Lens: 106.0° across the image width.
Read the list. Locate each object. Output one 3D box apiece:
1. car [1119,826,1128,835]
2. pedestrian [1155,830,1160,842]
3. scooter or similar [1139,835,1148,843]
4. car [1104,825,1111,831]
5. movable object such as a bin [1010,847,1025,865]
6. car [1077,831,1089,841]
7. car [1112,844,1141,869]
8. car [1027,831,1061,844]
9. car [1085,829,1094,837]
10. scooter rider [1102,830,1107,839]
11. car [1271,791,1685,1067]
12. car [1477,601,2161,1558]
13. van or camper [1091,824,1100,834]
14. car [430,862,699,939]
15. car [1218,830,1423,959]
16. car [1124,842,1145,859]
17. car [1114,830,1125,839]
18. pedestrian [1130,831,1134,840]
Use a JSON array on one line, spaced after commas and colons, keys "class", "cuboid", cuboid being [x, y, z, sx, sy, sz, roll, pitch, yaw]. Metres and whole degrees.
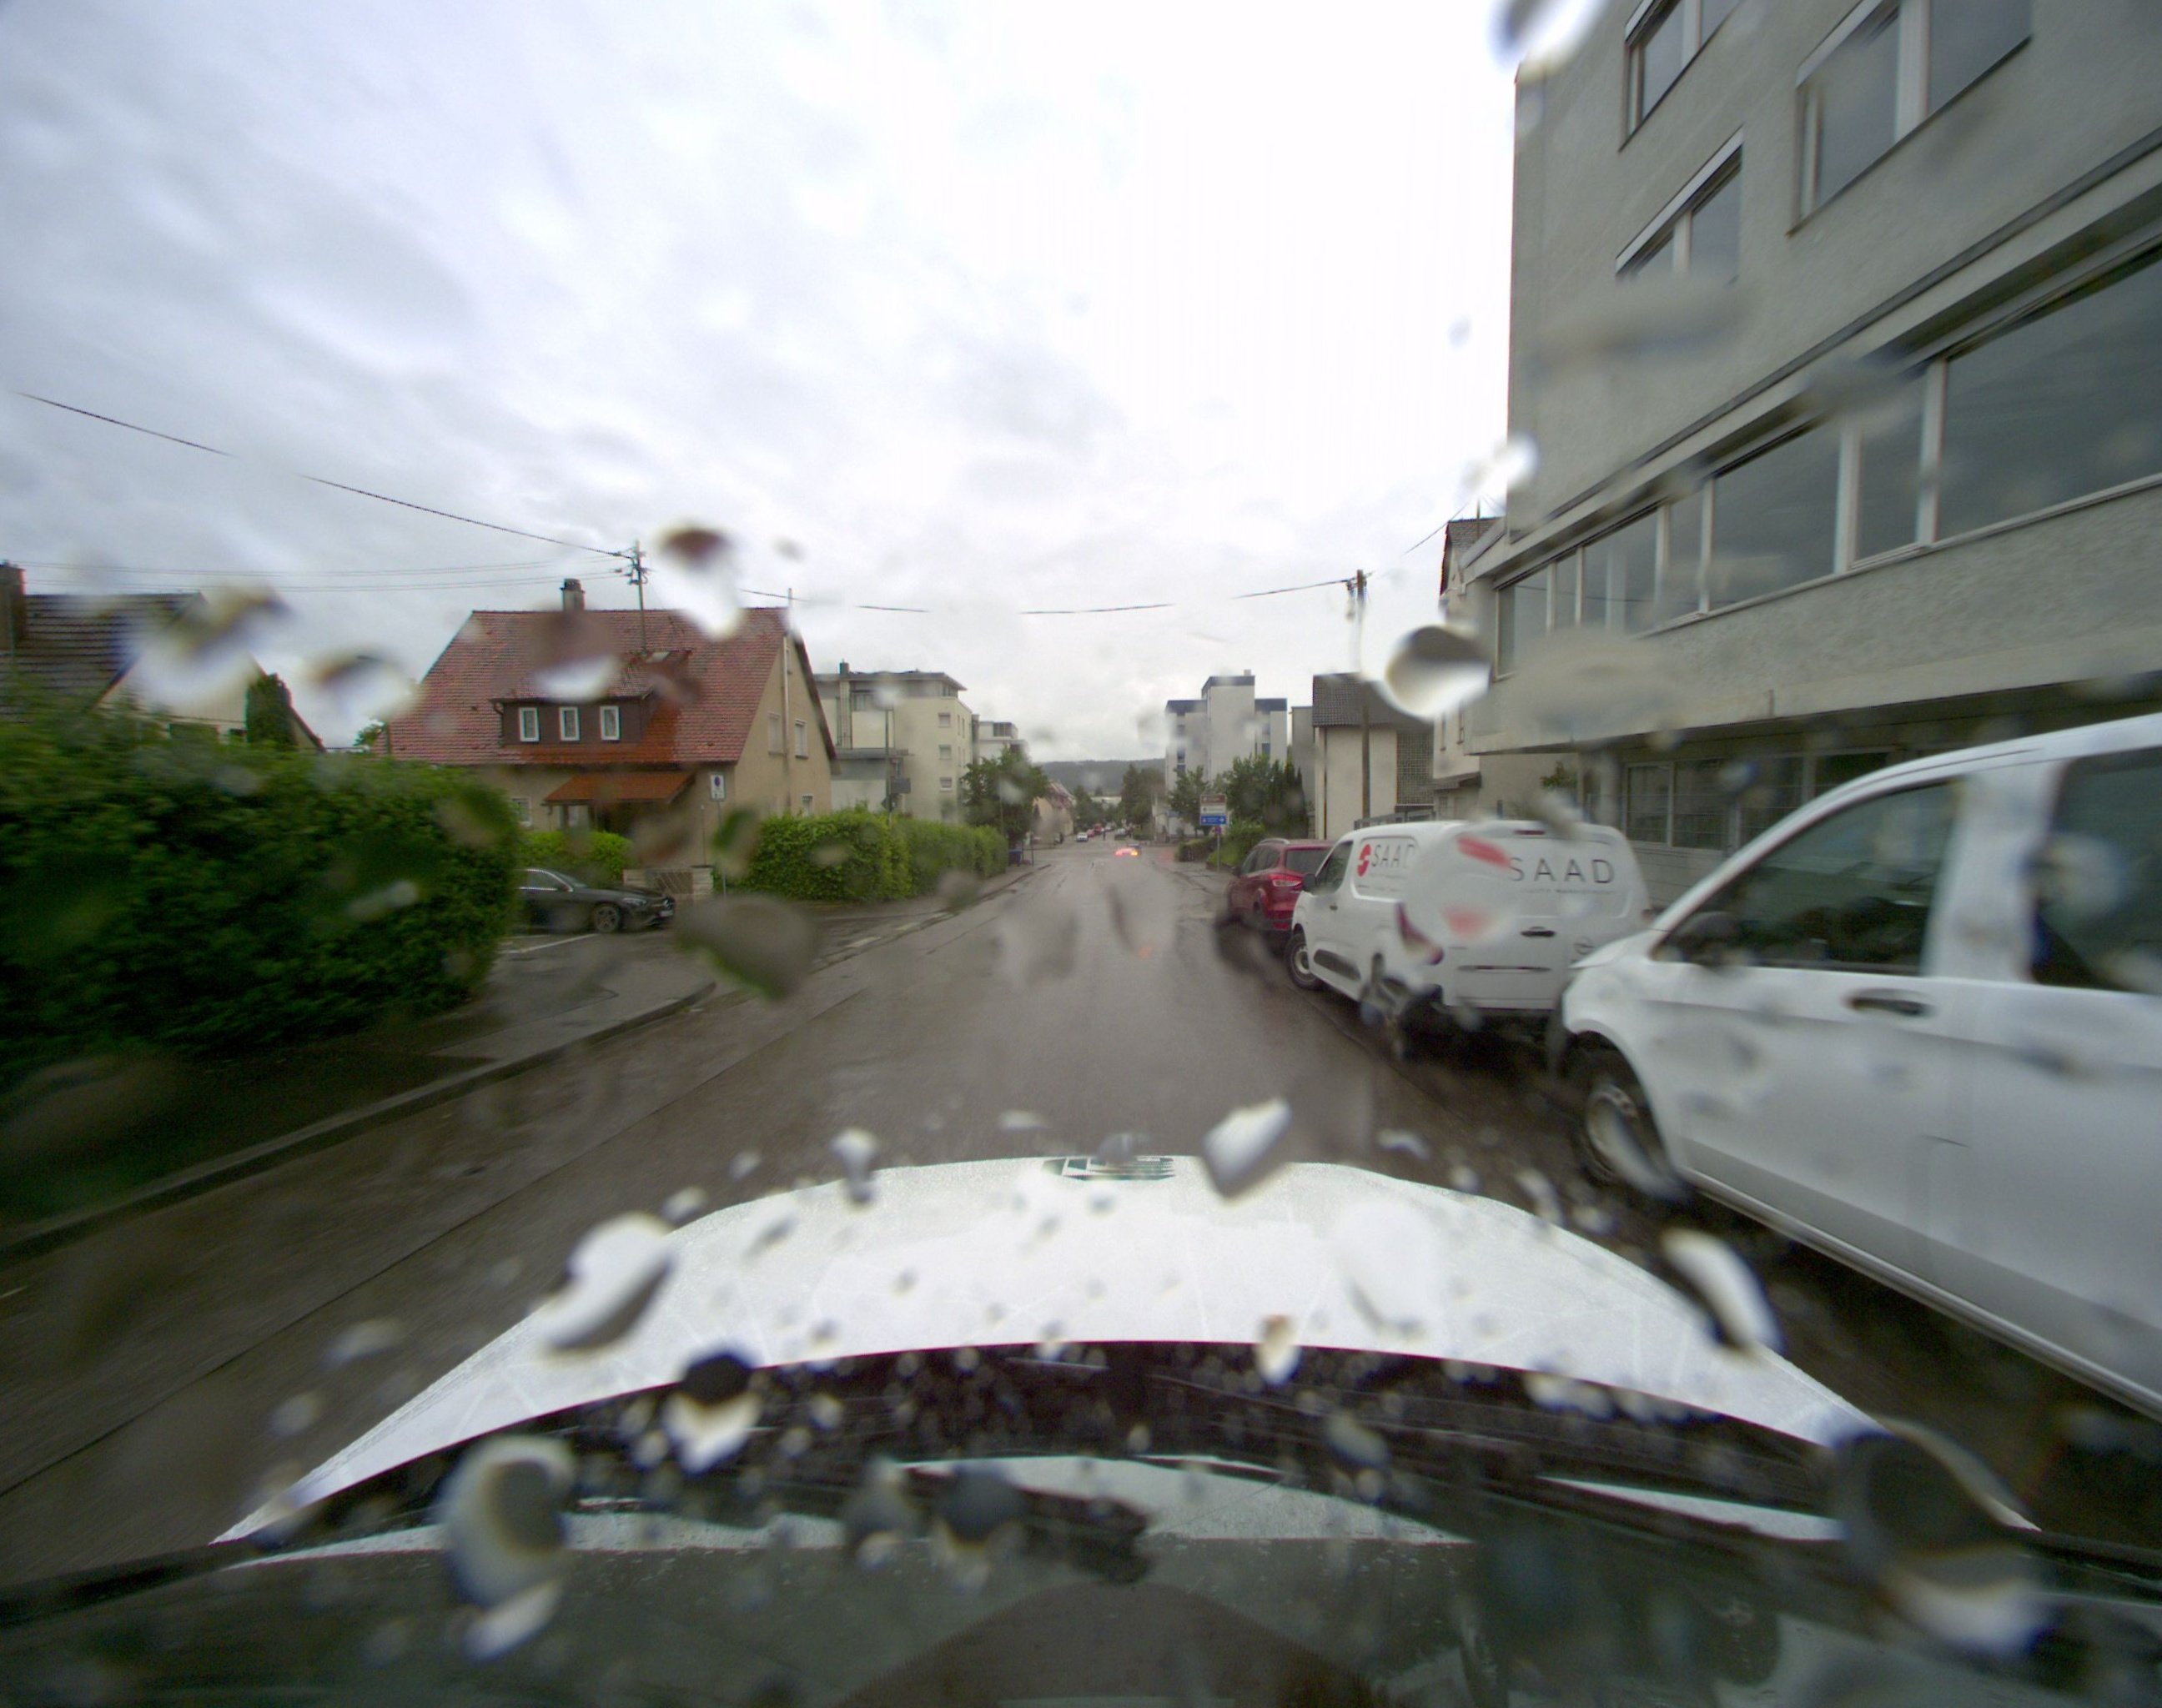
[{"class": "car", "cuboid": [9.331, -5.167, 180.092, 1.894, 1.745, 4.195, -2, 2, 2]}, {"class": "pedestrian", "cuboid": [10.945, -2.581, 116.359, 0.646, 1.647, 0.525, 1, 1, -5]}, {"class": "scooter or similar", "cuboid": [8.818, -2.143, 114.977, 1.265, 1.081, 0.876, -2, 2, -3]}, {"class": "car", "cuboid": [7.535, -7.334, 231.060, 1.894, 1.558, 4.195, -2, 2, 2]}, {"class": "movable object such as a bin", "cuboid": [-5.011, 0.134, 64.281, 1.068, 1.347, 1.319, 0, 1, -1]}, {"class": "car", "cuboid": [0.341, -3.231, 144.507, 1.985, 1.625, 4.195, -2, 2, 2]}, {"class": "car", "cuboid": [3.585, 0.165, 64.815, 1.987, 1.683, 4.000, -2, 2, 0]}, {"class": "car", "cuboid": [-5.562, -2.502, 124.136, 4.867, 1.835, 1.978, -4, 2, -37]}, {"class": "car", "cuboid": [1.872, -4.689, 180.943, 1.894, 1.558, 4.195, -2, 2, 2]}, {"class": "scooter rider", "cuboid": [4.472, -3.680, 154.797, 0.753, 1.795, 0.669, -3, 2, -14]}, {"class": "car", "cuboid": [3.207, 0.485, 7.754, 1.871, 1.833, 4.491, -1, 1, 2]}, {"class": "car", "cuboid": [3.189, 0.437, 2.167, 1.986, 1.935, 4.979, -1, 1, 2]}, {"class": "van or camper", "cuboid": [3.614, -6.279, 203.058, 1.894, 2.513, 4.242, -2, 2, 2]}, {"class": "car", "cuboid": [-11.046, 0.969, 17.659, 4.564, 1.398, 1.895, -2, 1, 1]}, {"class": "car", "cuboid": [3.525, 0.502, 13.049, 1.986, 1.644, 4.961, -1, 1, 2]}, {"class": "car", "cuboid": [5.920, -0.447, 90.916, 1.987, 1.683, 4.000, -2, 2, 0]}, {"class": "car", "cuboid": [7.453, -3.840, 158.005, 2.137, 1.589, 4.131, -2, 2, 2]}, {"class": "pedestrian", "cuboid": [10.357, -3.802, 165.417, 0.740, 1.848, 0.528, -3, 0, 17]}]
